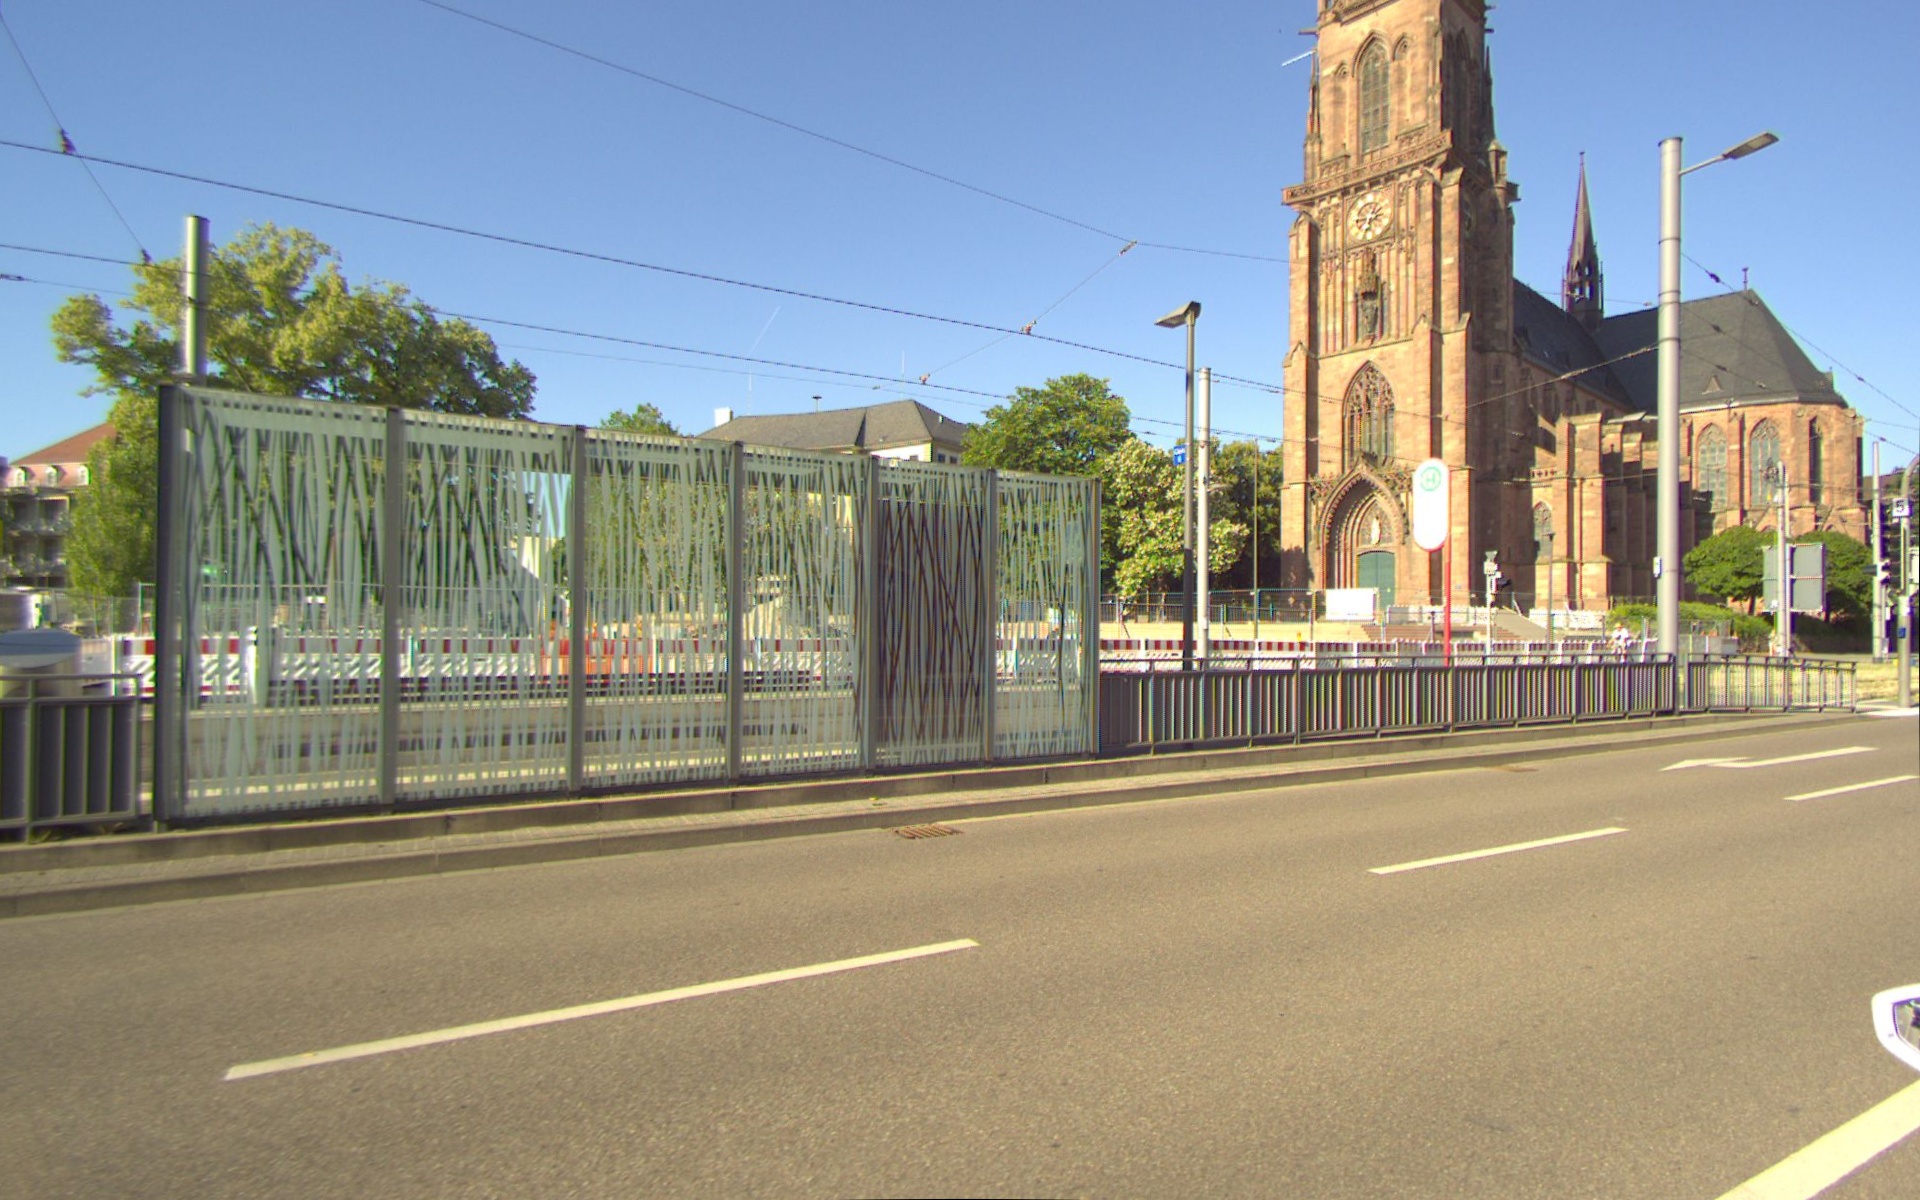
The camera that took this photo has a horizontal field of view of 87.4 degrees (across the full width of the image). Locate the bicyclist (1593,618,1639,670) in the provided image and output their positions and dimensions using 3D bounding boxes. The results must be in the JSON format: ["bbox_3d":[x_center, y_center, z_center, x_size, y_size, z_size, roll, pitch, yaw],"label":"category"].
[{"bbox_3d":[24.499,1.636,37.518,1.307,1.832,0.956,-1,-4,-37],"label":"bicyclist"}]

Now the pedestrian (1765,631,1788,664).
[{"bbox_3d":[45.595,2.663,56.112,0.854,1.797,0.724,-2,-1,-33],"label":"pedestrian"}]

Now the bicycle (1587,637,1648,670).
[{"bbox_3d":[24.586,1.991,37.545,2.798,1.111,0.956,-1,-4,-38],"label":"bicycle"}]
